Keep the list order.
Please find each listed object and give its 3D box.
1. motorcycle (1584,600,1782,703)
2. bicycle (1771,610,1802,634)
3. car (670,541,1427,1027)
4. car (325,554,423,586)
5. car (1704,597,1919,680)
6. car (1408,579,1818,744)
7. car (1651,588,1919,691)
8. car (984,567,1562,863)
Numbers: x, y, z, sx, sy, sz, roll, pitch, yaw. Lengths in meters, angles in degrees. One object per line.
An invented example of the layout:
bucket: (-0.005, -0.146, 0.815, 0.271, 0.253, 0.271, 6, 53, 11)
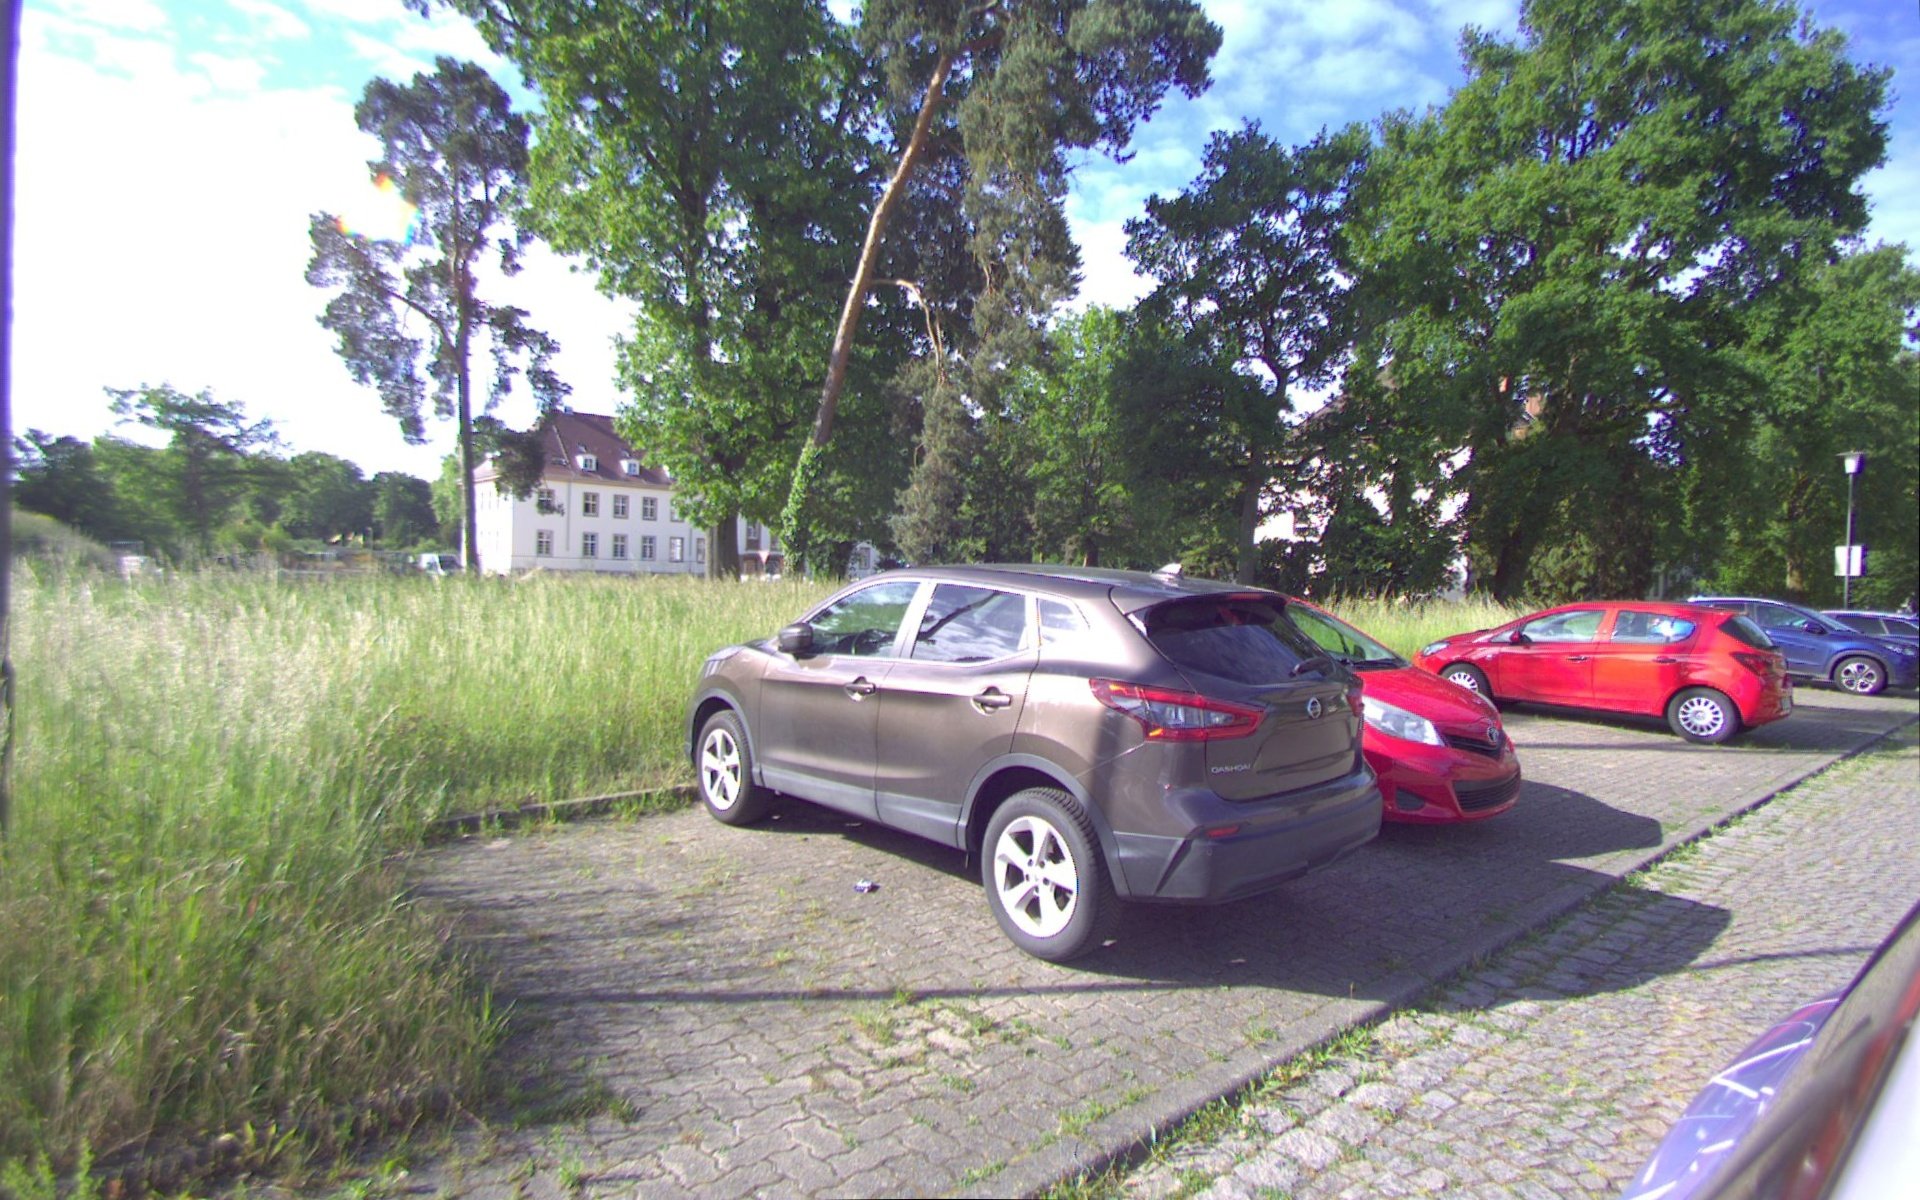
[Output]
motorcycle: (10.934, 0.734, 15.391, 0.713, 1.336, 2.305, 1, 2, -40)
bicycle: (36.453, 0.958, 44.625, 1.231, 1.029, 0.711, 1, 1, -34)
car: (0.140, 0.552, 5.475, 1.741, 1.642, 3.943, 1, 2, -41)
car: (-42.477, -2.156, 73.520, 5.888, 2.198, 2.381, 0, 1, -21)
car: (19.004, 0.797, 21.787, 1.682, 1.425, 4.464, 1, 3, -37)
car: (7.733, 0.603, 12.277, 1.617, 1.496, 3.835, 1, 3, -41)
car: (15.517, 0.656, 18.726, 1.721, 1.610, 4.185, 1, 2, -41)
car: (2.034, 0.584, 7.445, 1.616, 1.549, 3.771, 1, 2, -40)
